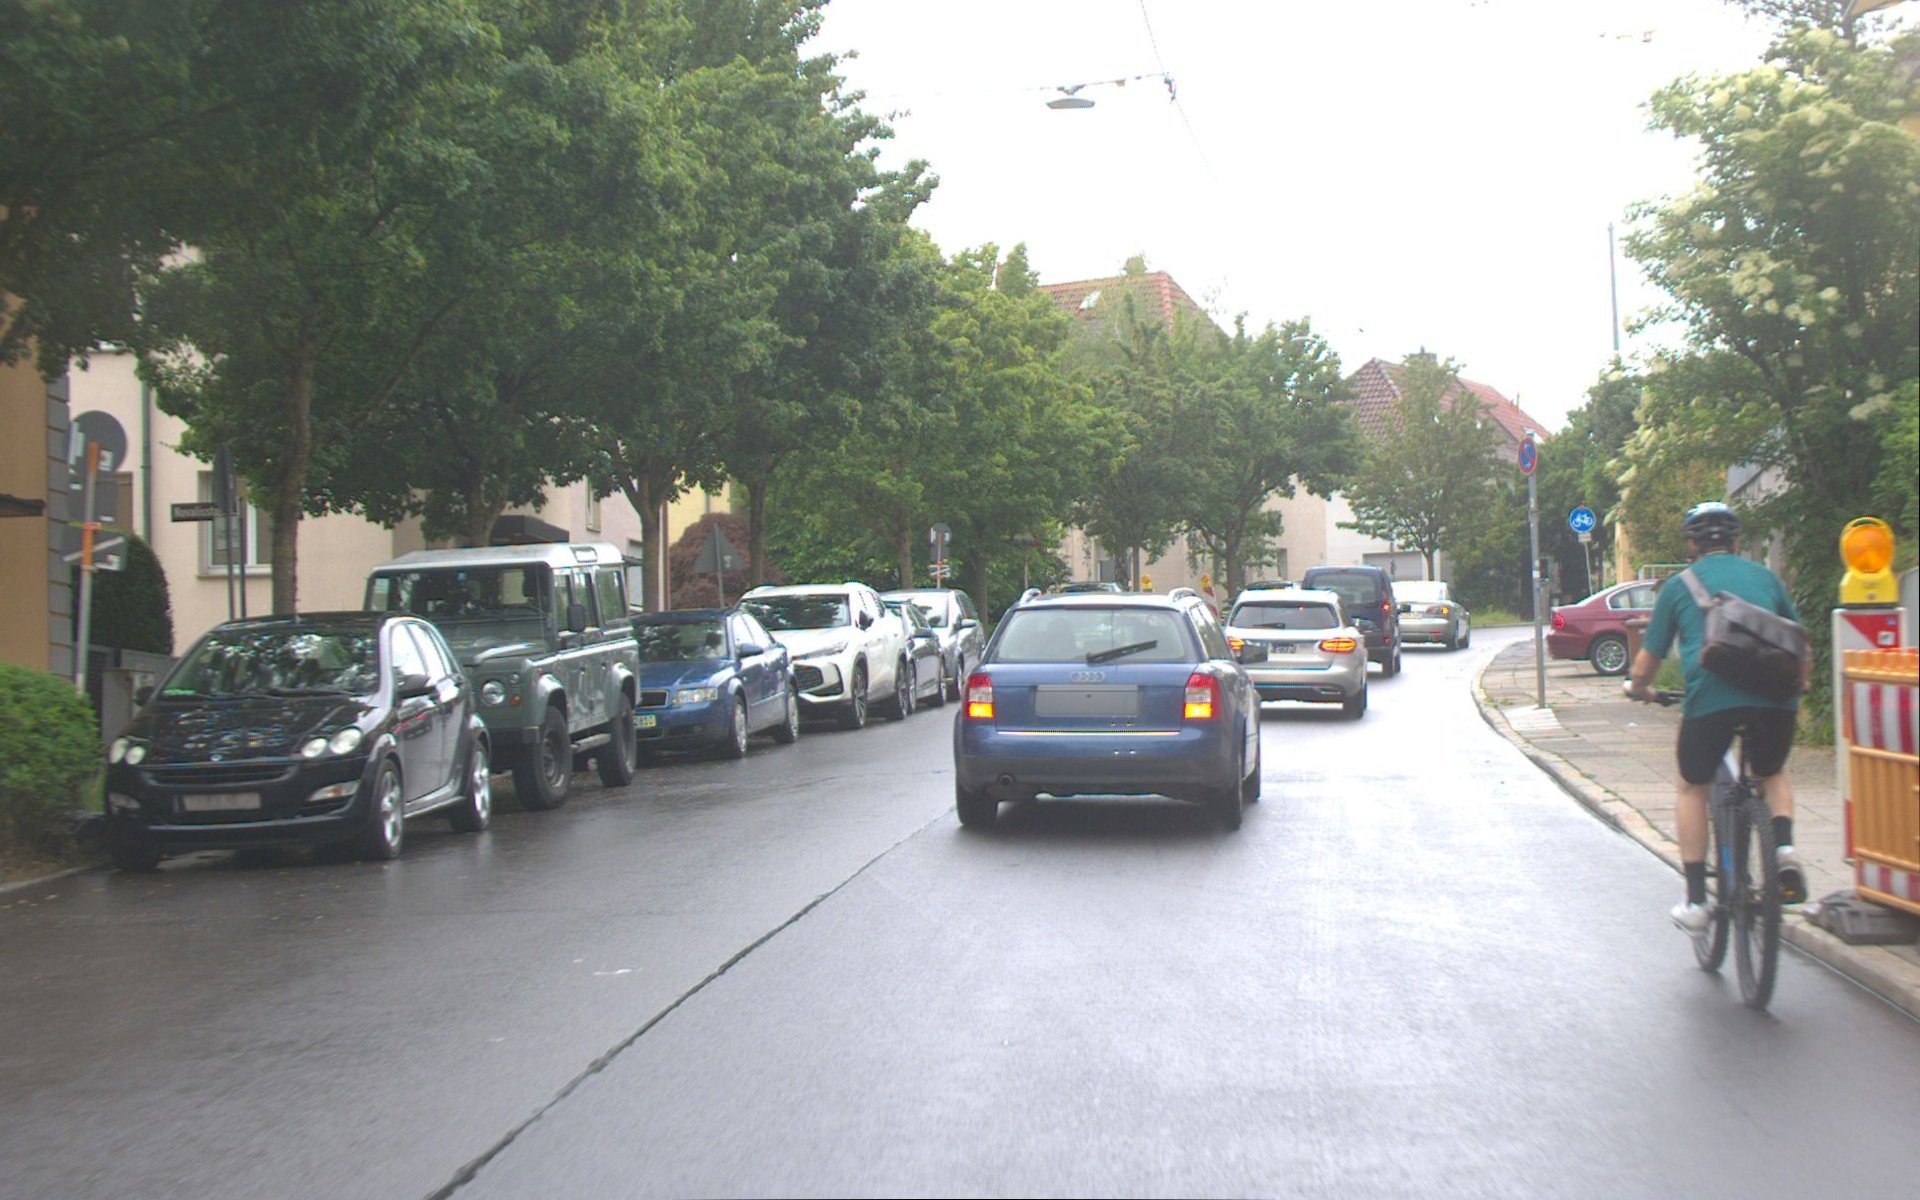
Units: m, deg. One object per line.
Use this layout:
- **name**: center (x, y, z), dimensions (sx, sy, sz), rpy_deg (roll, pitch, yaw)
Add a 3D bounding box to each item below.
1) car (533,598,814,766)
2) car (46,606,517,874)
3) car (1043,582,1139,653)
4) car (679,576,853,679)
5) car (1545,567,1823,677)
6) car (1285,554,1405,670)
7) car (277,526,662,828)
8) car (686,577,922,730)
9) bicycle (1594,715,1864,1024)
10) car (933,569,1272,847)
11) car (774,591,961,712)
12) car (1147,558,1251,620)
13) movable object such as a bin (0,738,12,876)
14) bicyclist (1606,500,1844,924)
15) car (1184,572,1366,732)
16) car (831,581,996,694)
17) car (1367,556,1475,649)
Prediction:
- **car**: center (-2.741, 0.754, 33.958), dimensions (1.768, 1.382, 4.633), rpy_deg (-2, 1, 7)
- **car**: center (-4.119, 0.798, 21.602), dimensions (1.768, 1.431, 4.346), rpy_deg (-2, 0, 4)
- **car**: center (2.687, 0.343, 69.784), dimensions (1.475, 1.291, 3.219), rpy_deg (2, 2, 10)
- **car**: center (-4.040, 0.561, 71.928), dimensions (3.211, 1.734, 1.479), rpy_deg (-7, 0, 10)
- **car**: center (10.955, 0.327, 52.083), dimensions (3.989, 1.461, 1.738), rpy_deg (-2, 1, 12)
- **car**: center (6.495, 0.167, 57.716), dimensions (1.734, 1.762, 4.234), rpy_deg (2, 2, 9)
- **car**: center (-3.696, 0.511, 26.827), dimensions (1.792, 2.043, 4.781), rpy_deg (-4, 1, 5)
- **car**: center (-1.742, 0.598, 40.004), dimensions (1.769, 1.621, 4.688), rpy_deg (-2, -1, 9)
- **bicycle**: center (2.732, 0.932, 12.370), dimensions (0.730, 0.961, 1.670), rpy_deg (0, 0, 5)
- **car**: center (0.994, 0.603, 21.825), dimensions (1.734, 1.461, 3.999), rpy_deg (2, 2, 8)
- **car**: center (-1.175, 0.663, 45.393), dimensions (1.769, 1.468, 4.006), rpy_deg (-2, -1, 8)
- **car**: center (6.171, -0.297, 88.415), dimensions (1.735, 1.461, 3.997), rpy_deg (2, 2, 17)
- **movable object such as a bin**: center (-5.812, 1.087, 19.335), dimensions (0.682, 1.008, 0.708), rpy_deg (-5, 0, -1)
- **bicyclist**: center (2.734, 0.387, 12.367), dimensions (0.725, 1.467, 0.886), rpy_deg (0, 0, 5)
- **car**: center (3.735, 0.556, 40.329), dimensions (1.976, 1.629, 4.234), rpy_deg (2, 2, 6)
- **car**: center (-0.634, 0.544, 50.565), dimensions (1.769, 1.534, 4.006), rpy_deg (-2, -1, 8)
- **car**: center (9.620, 0.021, 71.510), dimensions (1.734, 1.762, 4.233), rpy_deg (2, 2, 14)
